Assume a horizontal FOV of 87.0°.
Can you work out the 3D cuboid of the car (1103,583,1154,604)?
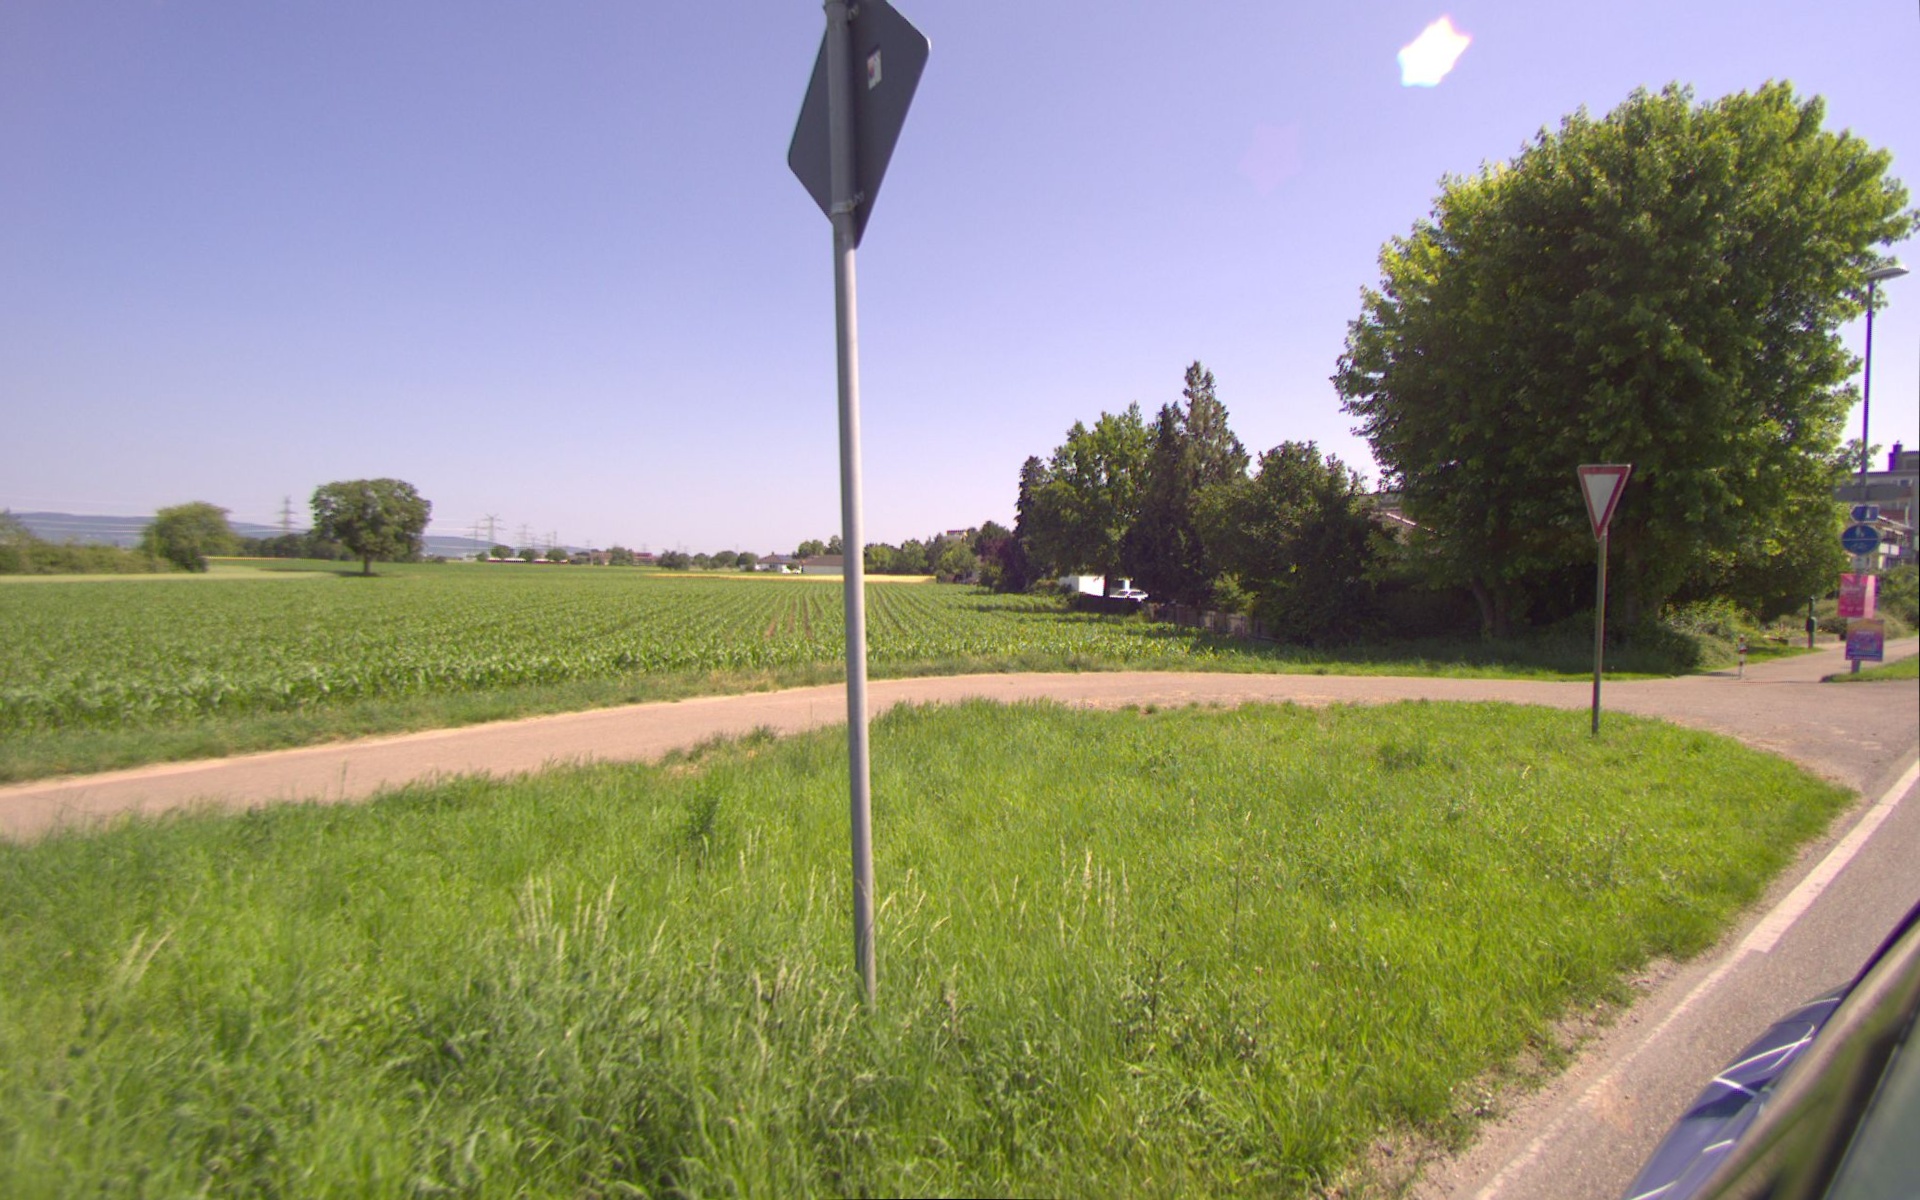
[{"bbox_3d":[13.577,-0.514,81.367,3.930,1.638,1.997,0,1,-41],"label":"car"}]
